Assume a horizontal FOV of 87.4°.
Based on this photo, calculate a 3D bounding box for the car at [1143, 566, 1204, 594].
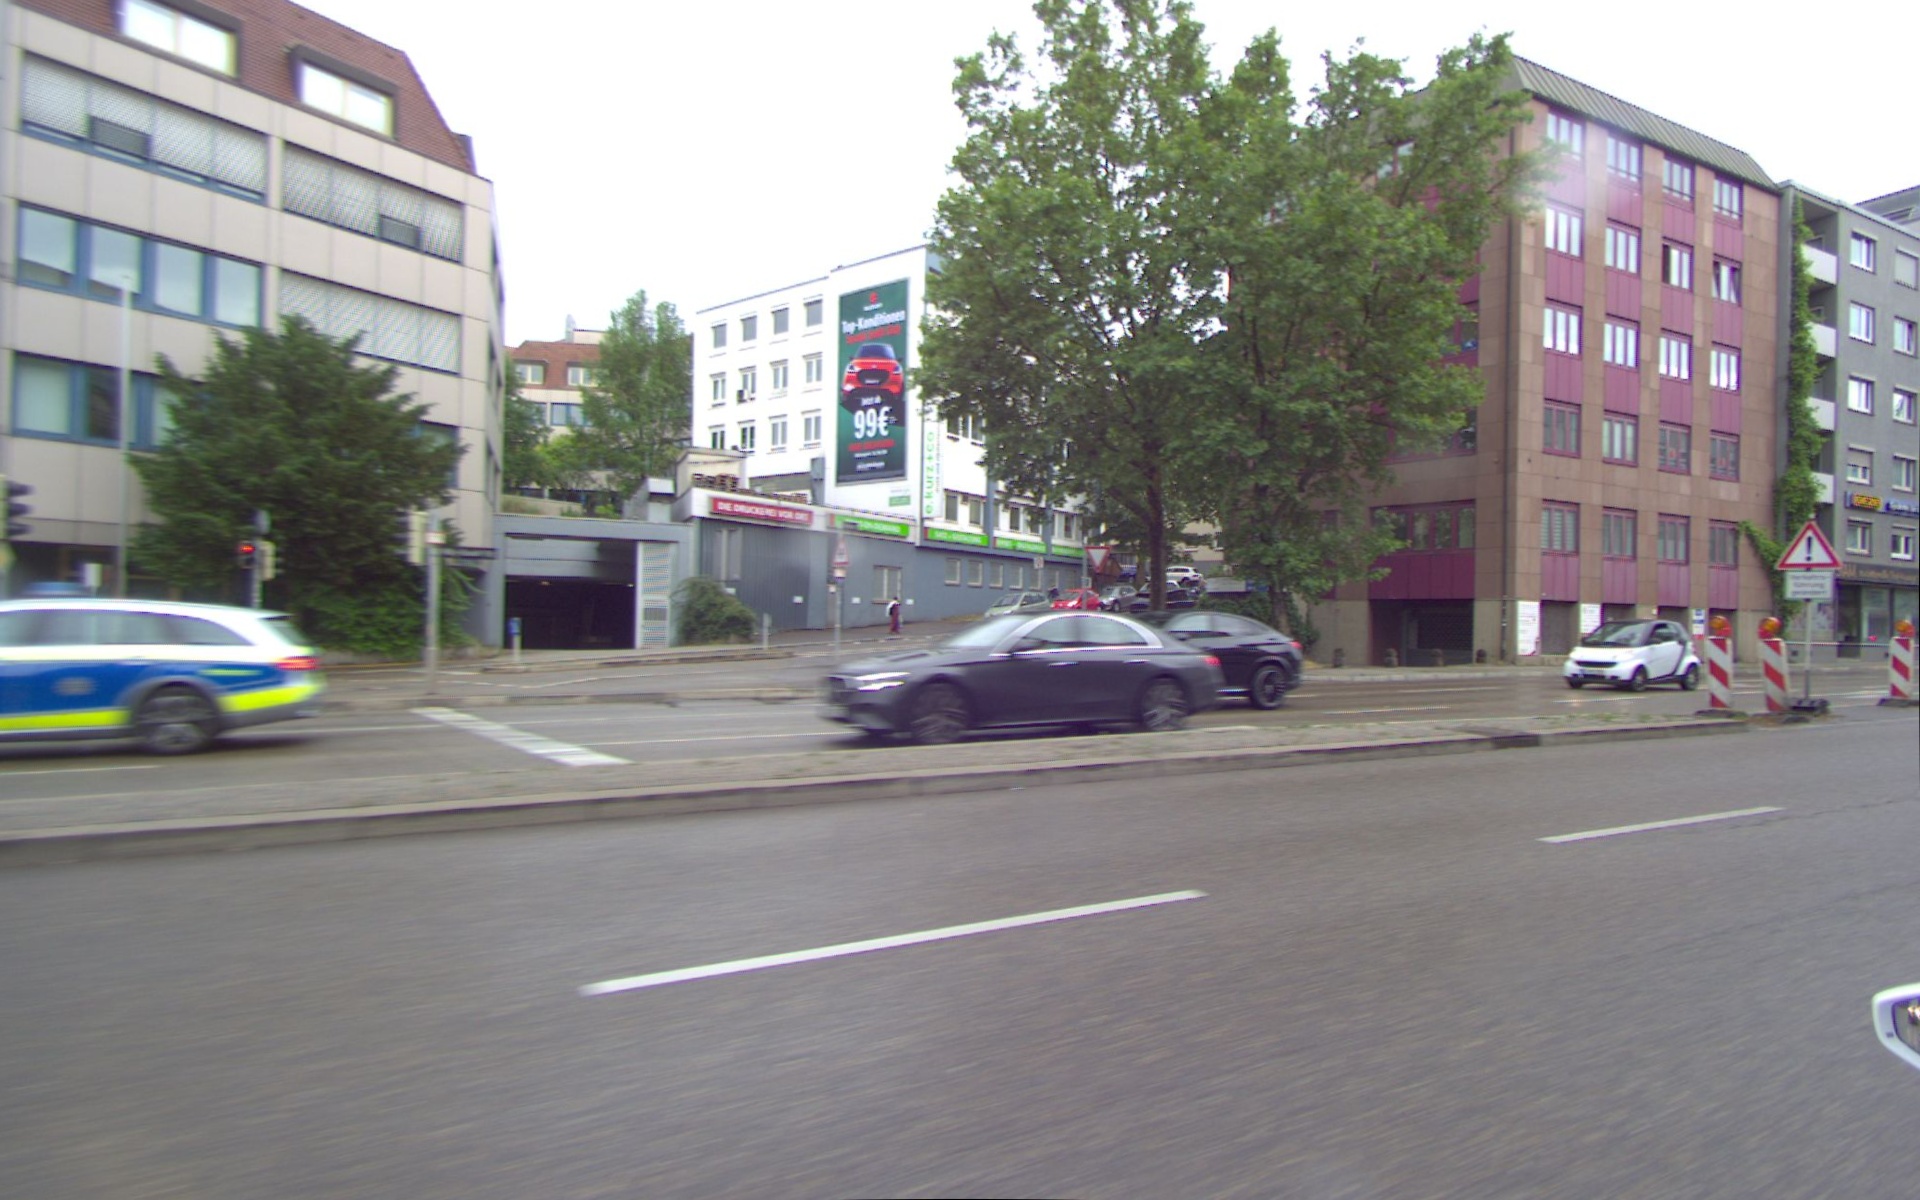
[{"bbox_3d":[16.818,-1.551,79.196,4.356,2.033,1.995,0,-2,33],"label":"car"}]

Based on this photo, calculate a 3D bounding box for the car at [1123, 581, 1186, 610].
[{"bbox_3d":[11.458,-0.274,59.047,1.812,1.450,4.047,-1,3,42],"label":"car"}]

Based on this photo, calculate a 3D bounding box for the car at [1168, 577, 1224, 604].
[{"bbox_3d":[14.765,-0.594,62.776,1.811,1.450,4.050,-1,2,40],"label":"car"}]

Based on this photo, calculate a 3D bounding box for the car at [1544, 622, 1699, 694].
[{"bbox_3d":[14.536,1.251,22.083,2.909,1.504,1.551,1,-2,-25],"label":"car"}]

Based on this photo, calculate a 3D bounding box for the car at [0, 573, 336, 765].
[{"bbox_3d":[-8.821,0.636,9.792,4.537,1.704,1.758,2,-2,-30],"label":"car"}]

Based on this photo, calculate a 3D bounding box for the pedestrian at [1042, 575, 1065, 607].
[{"bbox_3d":[5.109,-0.480,54.894,0.828,1.740,0.978,0,-2,37],"label":"pedestrian"}]

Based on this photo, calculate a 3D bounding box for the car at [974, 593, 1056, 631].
[{"bbox_3d":[2.637,0.543,47.347,1.810,1.483,4.159,-1,2,38],"label":"car"}]

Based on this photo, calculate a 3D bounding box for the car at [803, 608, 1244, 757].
[{"bbox_3d":[0.788,0.876,11.809,4.873,1.457,1.987,1,-2,-27],"label":"car"}]

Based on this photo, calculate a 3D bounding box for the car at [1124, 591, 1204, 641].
[{"bbox_3d":[8.403,0.595,41.143,1.903,1.893,3.990,2,1,31],"label":"car"}]

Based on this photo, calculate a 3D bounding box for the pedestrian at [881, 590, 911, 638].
[{"bbox_3d":[-2.790,0.625,43.758,0.828,2.040,0.978,0,-2,37],"label":"pedestrian"}]

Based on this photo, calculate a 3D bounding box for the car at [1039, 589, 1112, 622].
[{"bbox_3d":[5.985,0.266,51.756,1.811,1.450,4.050,-1,2,39],"label":"car"}]

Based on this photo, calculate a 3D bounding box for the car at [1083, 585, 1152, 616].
[{"bbox_3d":[8.702,0.018,55.321,1.812,1.450,4.047,-1,3,42],"label":"car"}]

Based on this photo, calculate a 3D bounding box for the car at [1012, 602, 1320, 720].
[{"bbox_3d":[3.444,0.952,16.595,4.875,1.699,1.986,1,-2,-28],"label":"car"}]
